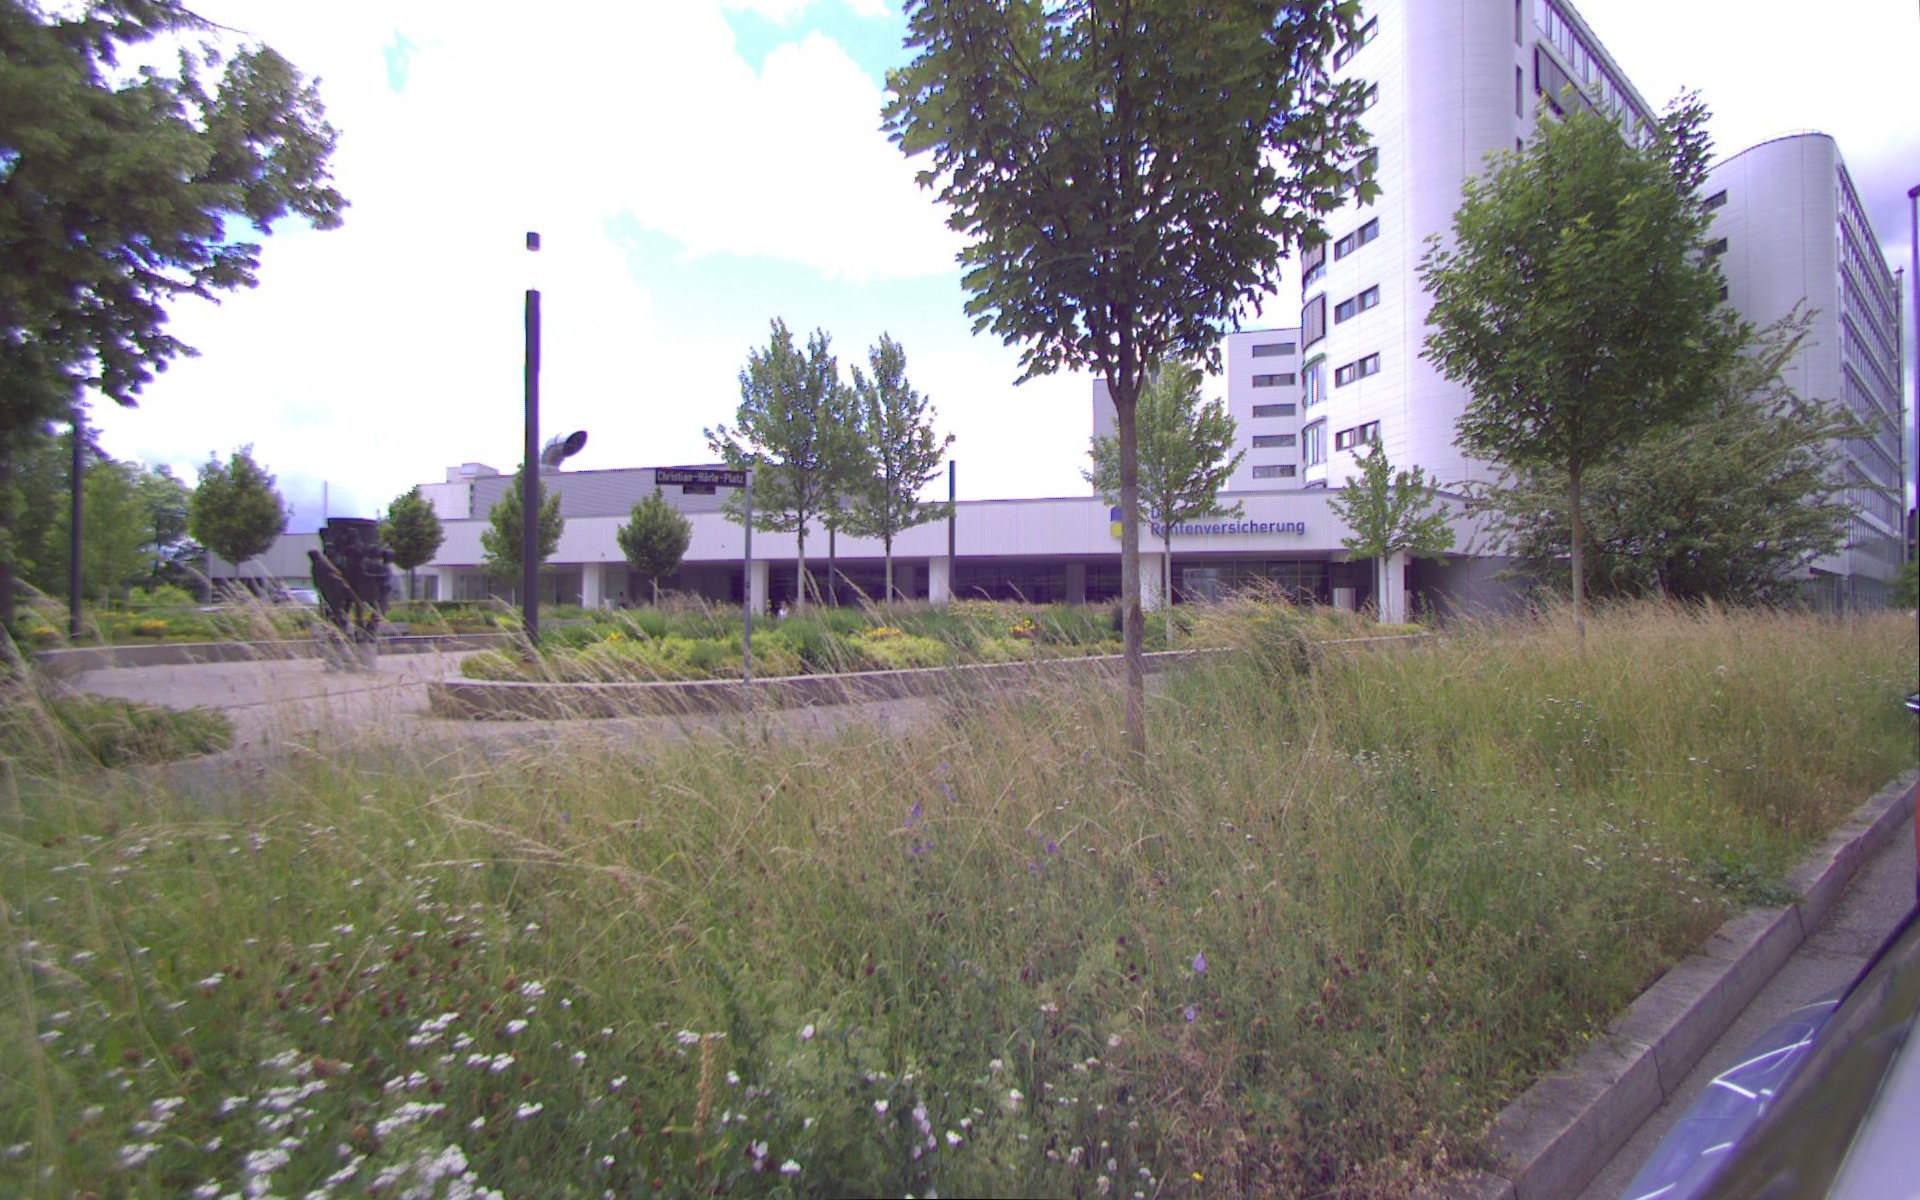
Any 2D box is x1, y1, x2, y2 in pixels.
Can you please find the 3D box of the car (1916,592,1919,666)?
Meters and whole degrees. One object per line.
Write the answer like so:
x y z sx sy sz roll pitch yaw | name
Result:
22.613 0.648 22.478 3.386 1.594 1.736 0 0 -42 | car

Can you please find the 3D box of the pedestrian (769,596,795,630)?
-6.906 0.503 39.327 0.869 1.290 0.704 1 0 2 | pedestrian

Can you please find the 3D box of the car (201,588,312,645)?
-23.378 0.519 33.613 3.470 1.788 1.622 0 0 27 | car

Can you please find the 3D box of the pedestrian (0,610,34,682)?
-17.462 0.841 18.670 0.560 1.278 0.581 0 0 -43 | pedestrian
